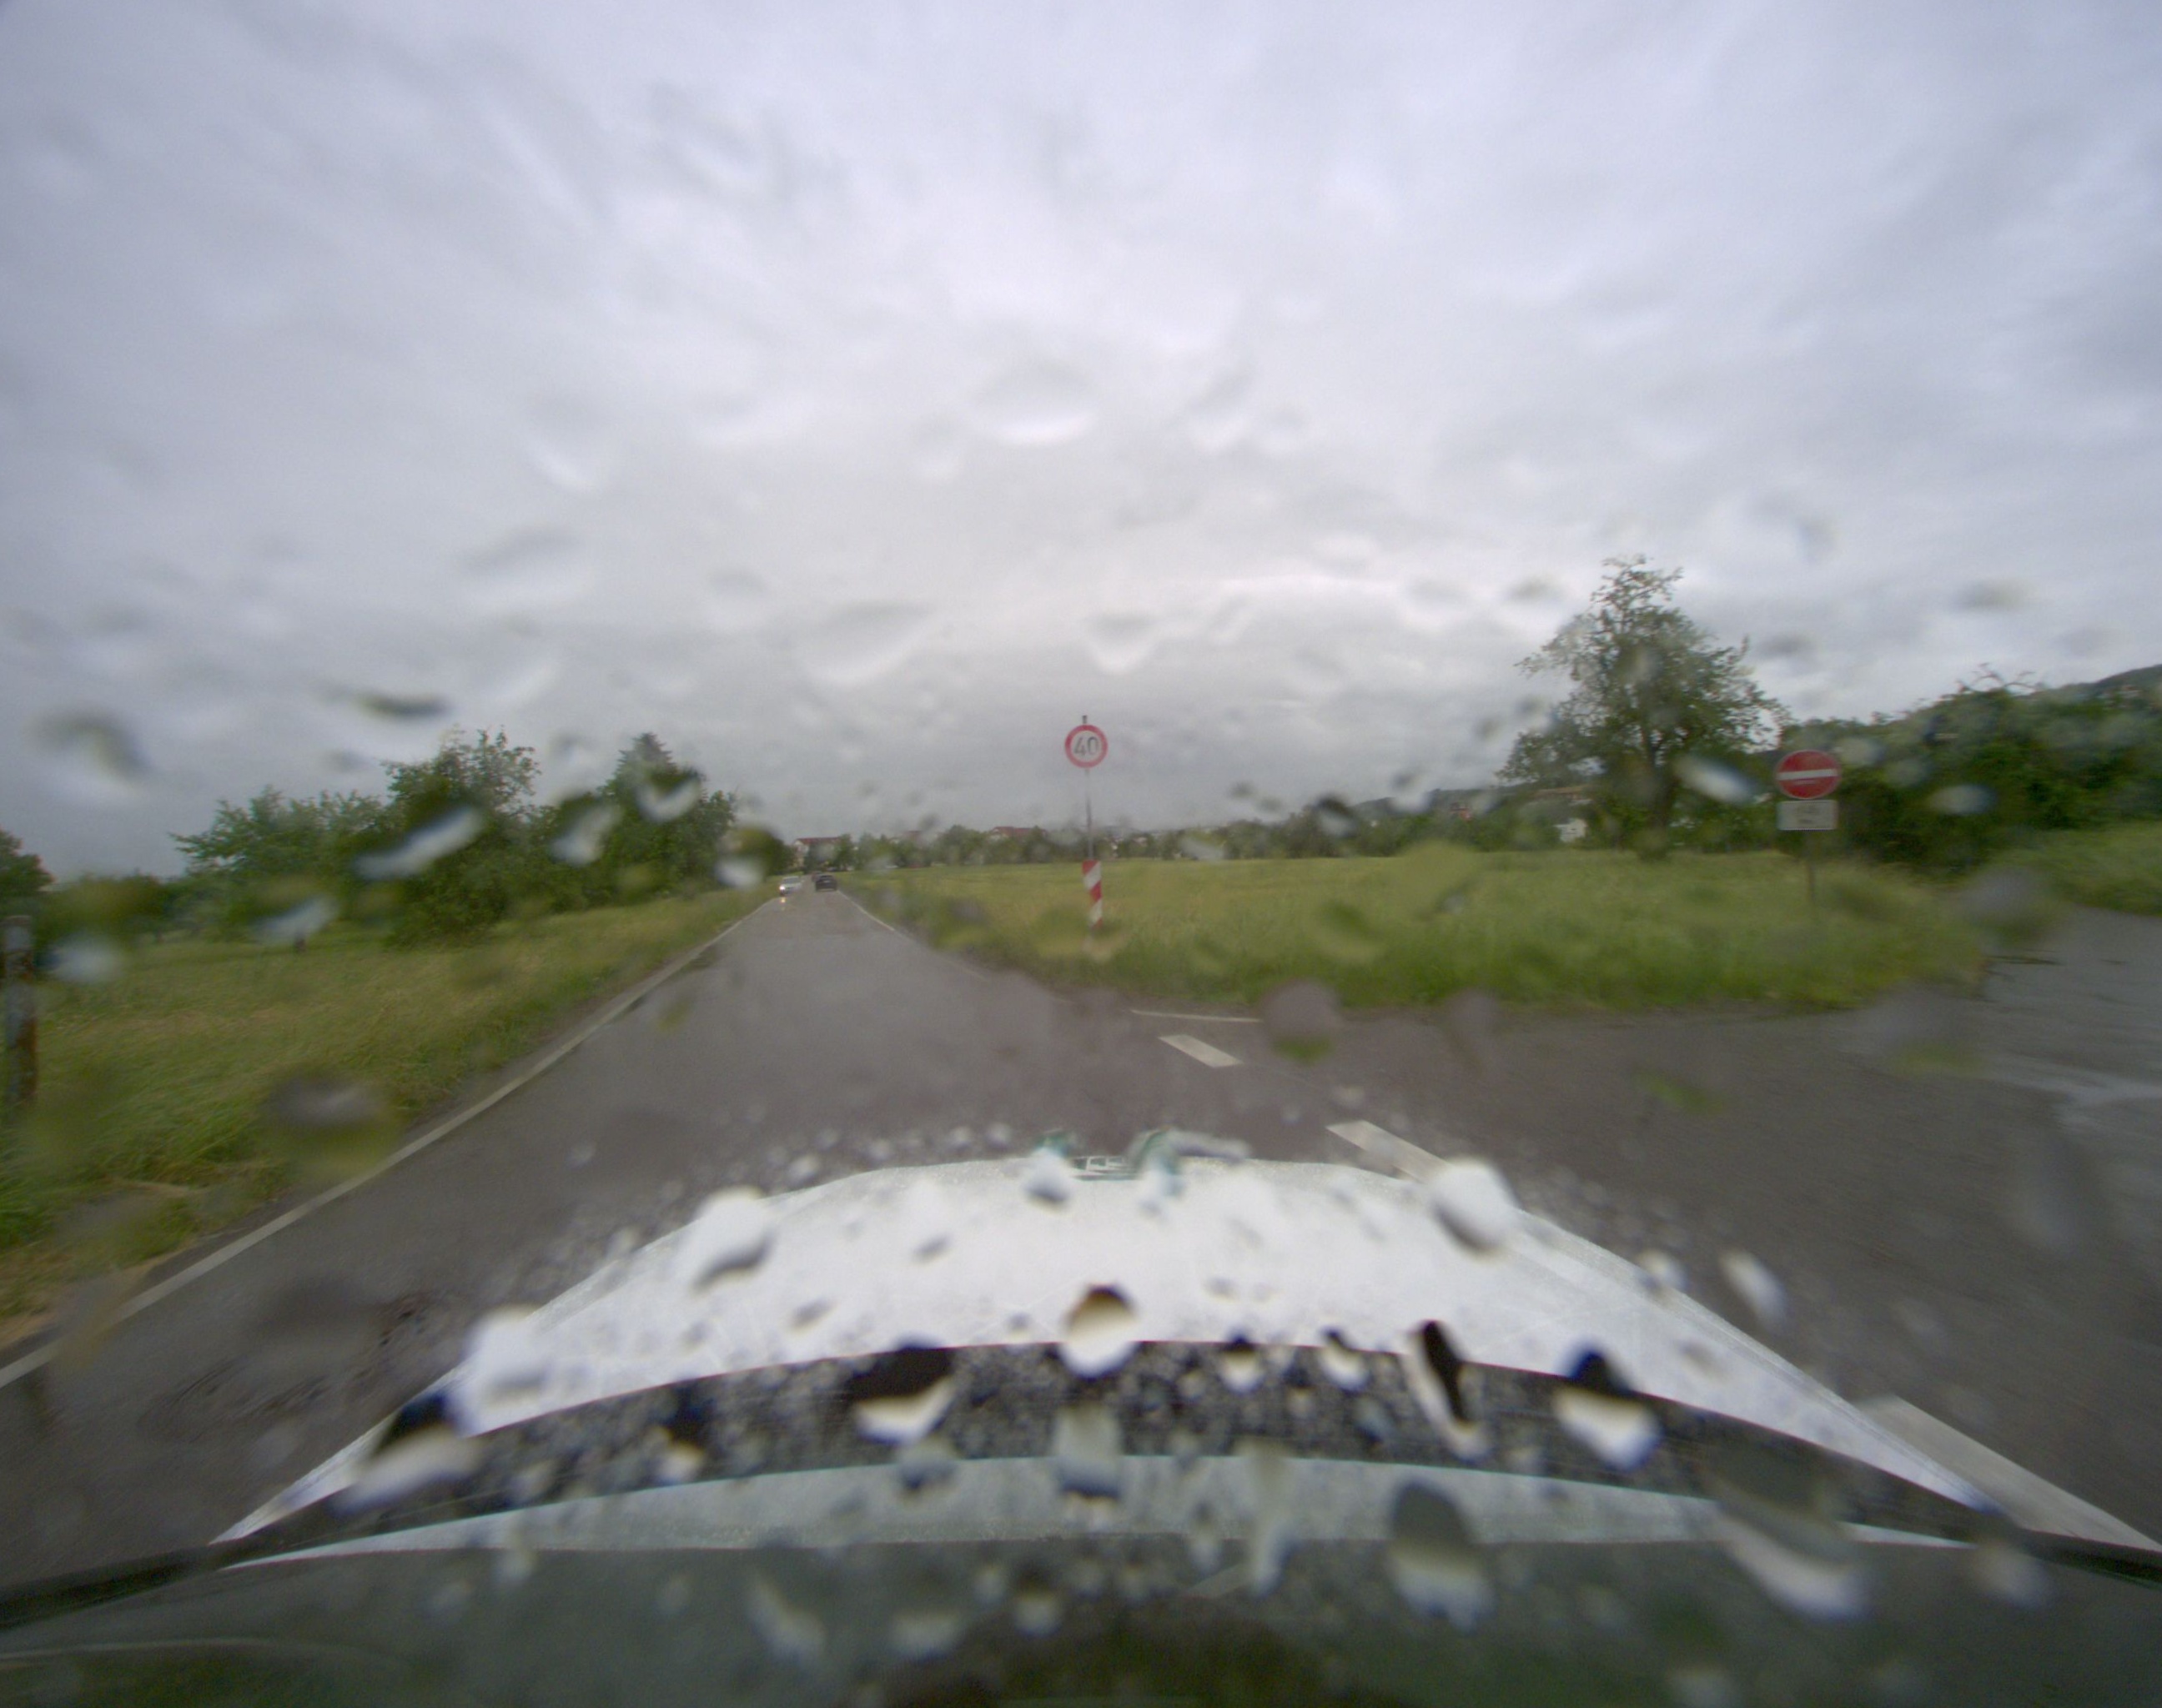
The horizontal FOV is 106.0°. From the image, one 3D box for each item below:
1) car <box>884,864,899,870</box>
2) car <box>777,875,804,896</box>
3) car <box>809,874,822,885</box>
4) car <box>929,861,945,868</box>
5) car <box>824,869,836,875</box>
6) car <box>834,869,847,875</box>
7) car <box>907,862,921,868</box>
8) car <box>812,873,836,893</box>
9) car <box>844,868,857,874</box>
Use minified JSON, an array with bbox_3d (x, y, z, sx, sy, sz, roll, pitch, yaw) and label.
[{"bbox_3d":[-48.686,3.350,209.031,3.385,1.370,1.545,-4,-1,-6],"label":"car"},{"bbox_3d":[-23.283,2.514,65.382,1.744,1.471,4.098,-4,-1,-18],"label":"car"},{"bbox_3d":[-42.054,3.986,128.846,1.820,1.594,3.976,-4,-1,-18],"label":"car"},{"bbox_3d":[-37.199,2.757,210.528,3.704,1.564,1.607,-4,-1,-6],"label":"car"},{"bbox_3d":[-71.190,5.018,230.758,1.652,1.546,4.007,-4,-1,6],"label":"car"},{"bbox_3d":[-69.933,5.124,236.939,1.648,1.546,4.018,-4,-1,17],"label":"car"},{"bbox_3d":[-42.959,2.783,209.721,3.188,1.370,1.569,-4,-1,-6],"label":"car"},{"bbox_3d":[-22.197,2.493,70.376,1.820,1.594,3.976,-4,-1,-18],"label":"car"},{"bbox_3d":[-68.374,5.150,241.816,1.648,1.546,4.018,-4,-1,17],"label":"car"}]
